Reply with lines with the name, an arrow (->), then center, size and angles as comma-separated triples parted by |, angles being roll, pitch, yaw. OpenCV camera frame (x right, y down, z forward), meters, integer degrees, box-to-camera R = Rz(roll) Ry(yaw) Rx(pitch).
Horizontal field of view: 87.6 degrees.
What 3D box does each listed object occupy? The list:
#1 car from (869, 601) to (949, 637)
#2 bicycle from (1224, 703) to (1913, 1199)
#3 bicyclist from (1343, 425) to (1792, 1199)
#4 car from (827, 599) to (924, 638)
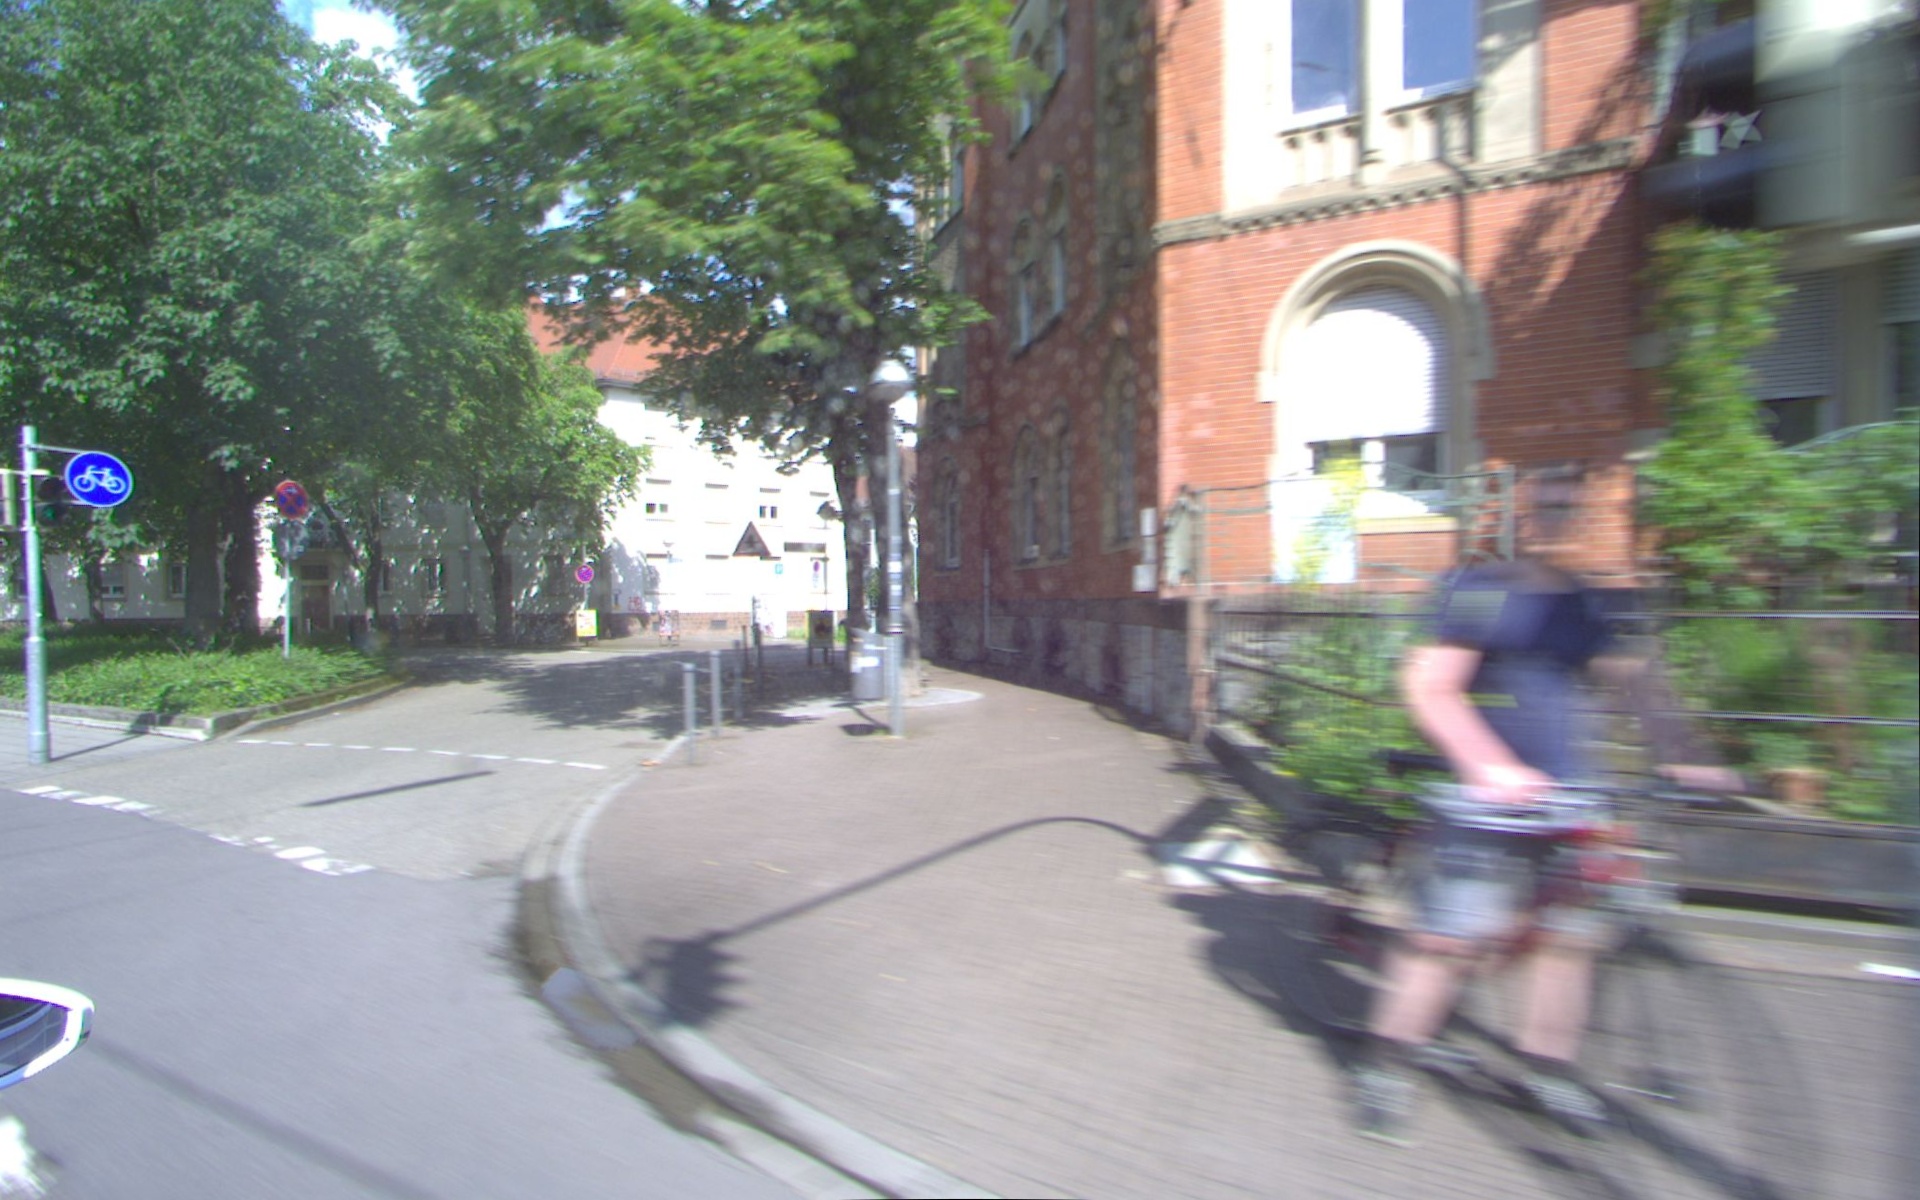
car -> -2.181, 0.764, 42.221 | 1.547, 1.441, 3.380 | -1, 0, -44
bicycle -> 1.429, 0.920, 2.818 | 0.383, 1.049, 1.841 | -1, 1, -18
bicyclist -> 1.583, 0.514, 2.763 | 0.804, 1.844, 0.735 | 0, 1, 4
car -> -3.415, 0.723, 39.931 | 1.785, 1.461, 3.960 | -1, 0, -44
